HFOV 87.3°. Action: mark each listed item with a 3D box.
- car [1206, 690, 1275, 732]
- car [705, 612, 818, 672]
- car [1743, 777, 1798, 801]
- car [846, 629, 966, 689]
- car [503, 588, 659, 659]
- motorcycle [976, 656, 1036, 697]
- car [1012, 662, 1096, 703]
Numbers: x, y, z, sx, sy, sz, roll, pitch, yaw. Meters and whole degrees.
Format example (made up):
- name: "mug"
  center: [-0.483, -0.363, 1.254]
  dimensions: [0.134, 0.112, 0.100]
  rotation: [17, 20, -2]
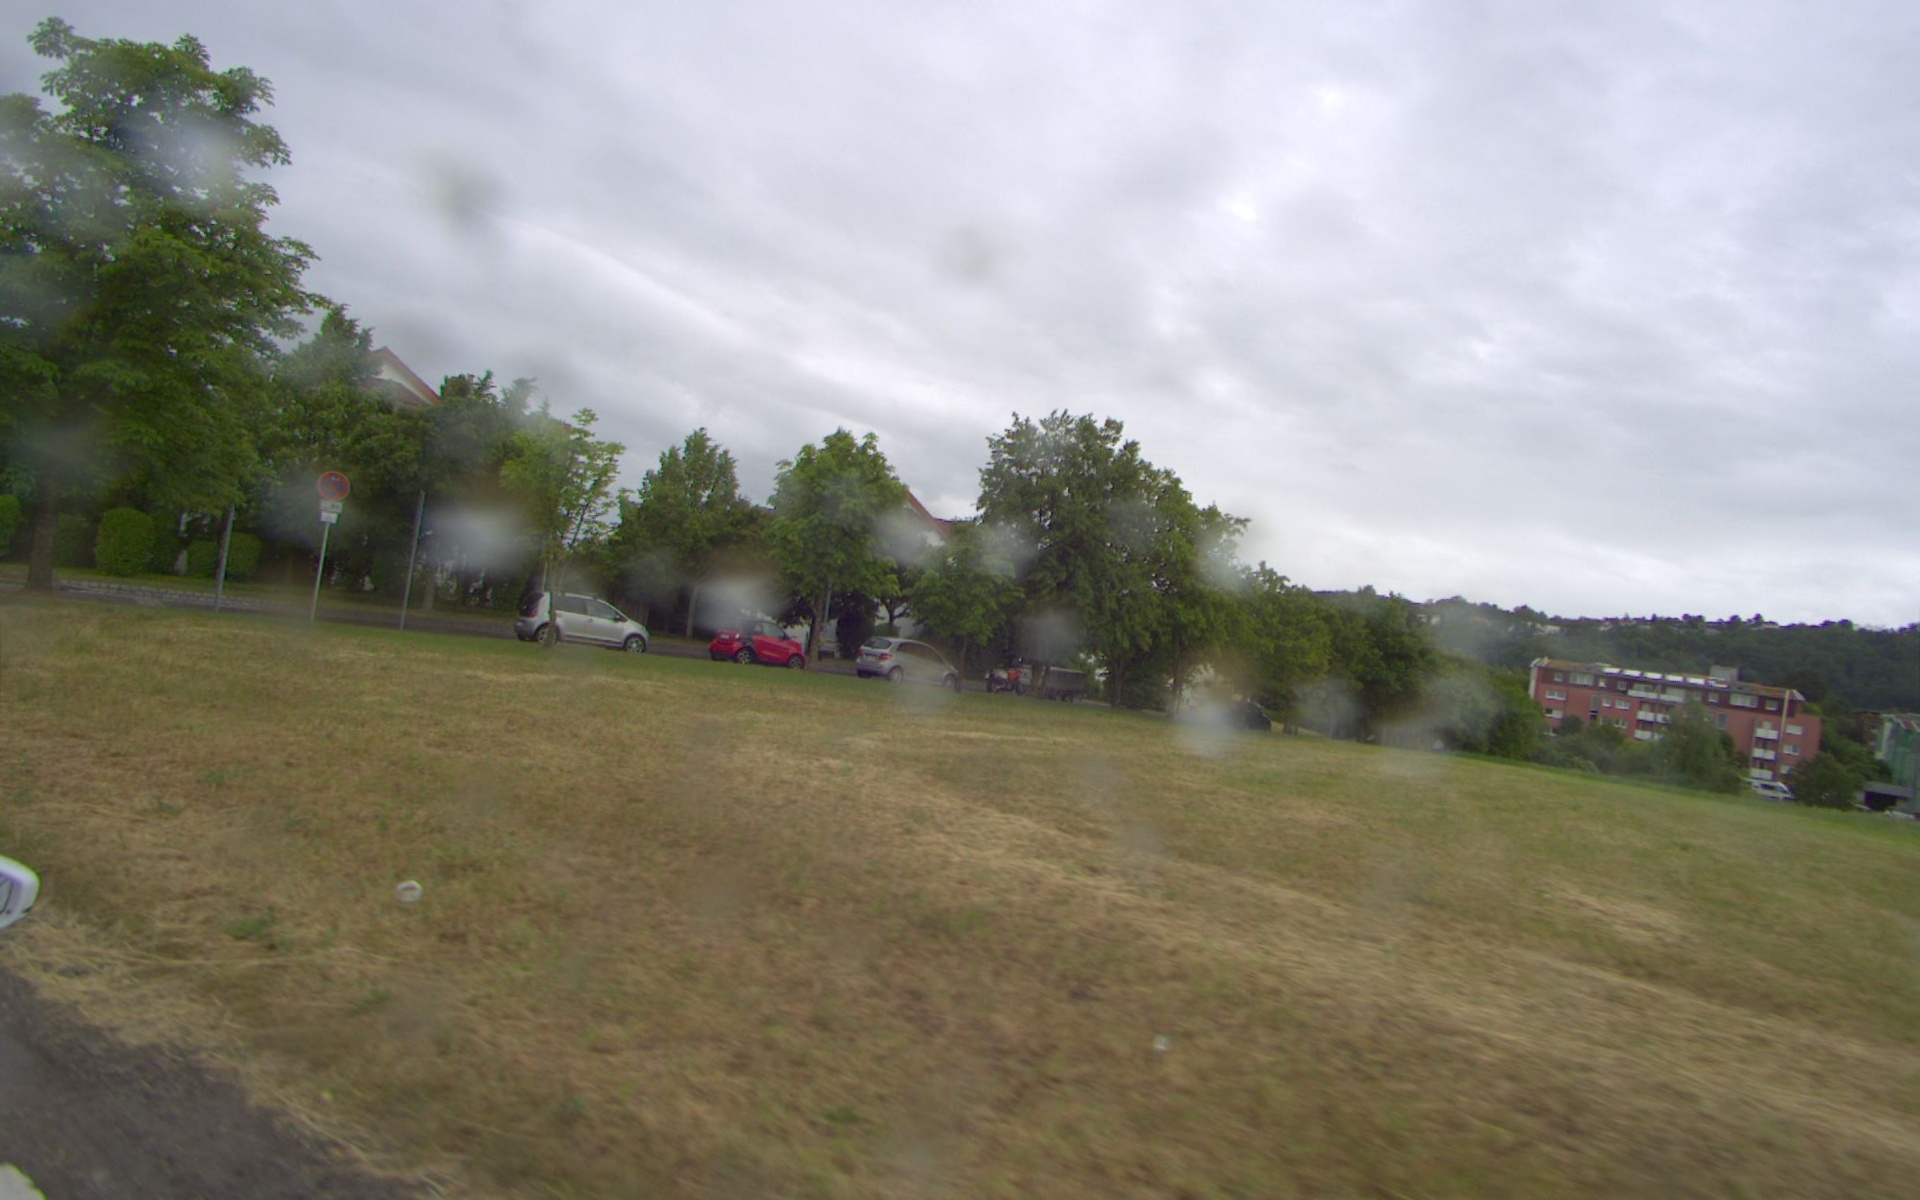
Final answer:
- name: "car"
  center: [15.246, 6.035, 54.582]
  dimensions: [1.935, 1.623, 3.989]
  rotation: [6, -5, 42]
- name: "car"
  center: [-6.197, 1.337, 31.515]
  dimensions: [2.993, 1.452, 1.536]
  rotation: [10, -4, -41]
- name: "car"
  center: [102.620, 23.947, 127.426]
  dimensions: [5.207, 2.037, 1.992]
  rotation: [4, -3, 41]
- name: "car"
  center: [-1.874, 2.112, 35.838]
  dimensions: [1.828, 1.569, 3.973]
  rotation: [5, -4, 44]
- name: "car"
  center: [-10.327, 0.652, 27.506]
  dimensions: [3.530, 1.496, 1.661]
  rotation: [9, -3, -41]
- name: "motorcycle"
  center: [1.783, 2.968, 38.879]
  dimensions: [0.958, 1.316, 2.255]
  rotation: [6, -3, 43]
- name: "car"
  center: [3.940, 3.435, 41.692]
  dimensions: [1.711, 1.295, 3.314]
  rotation: [5, -3, 43]
